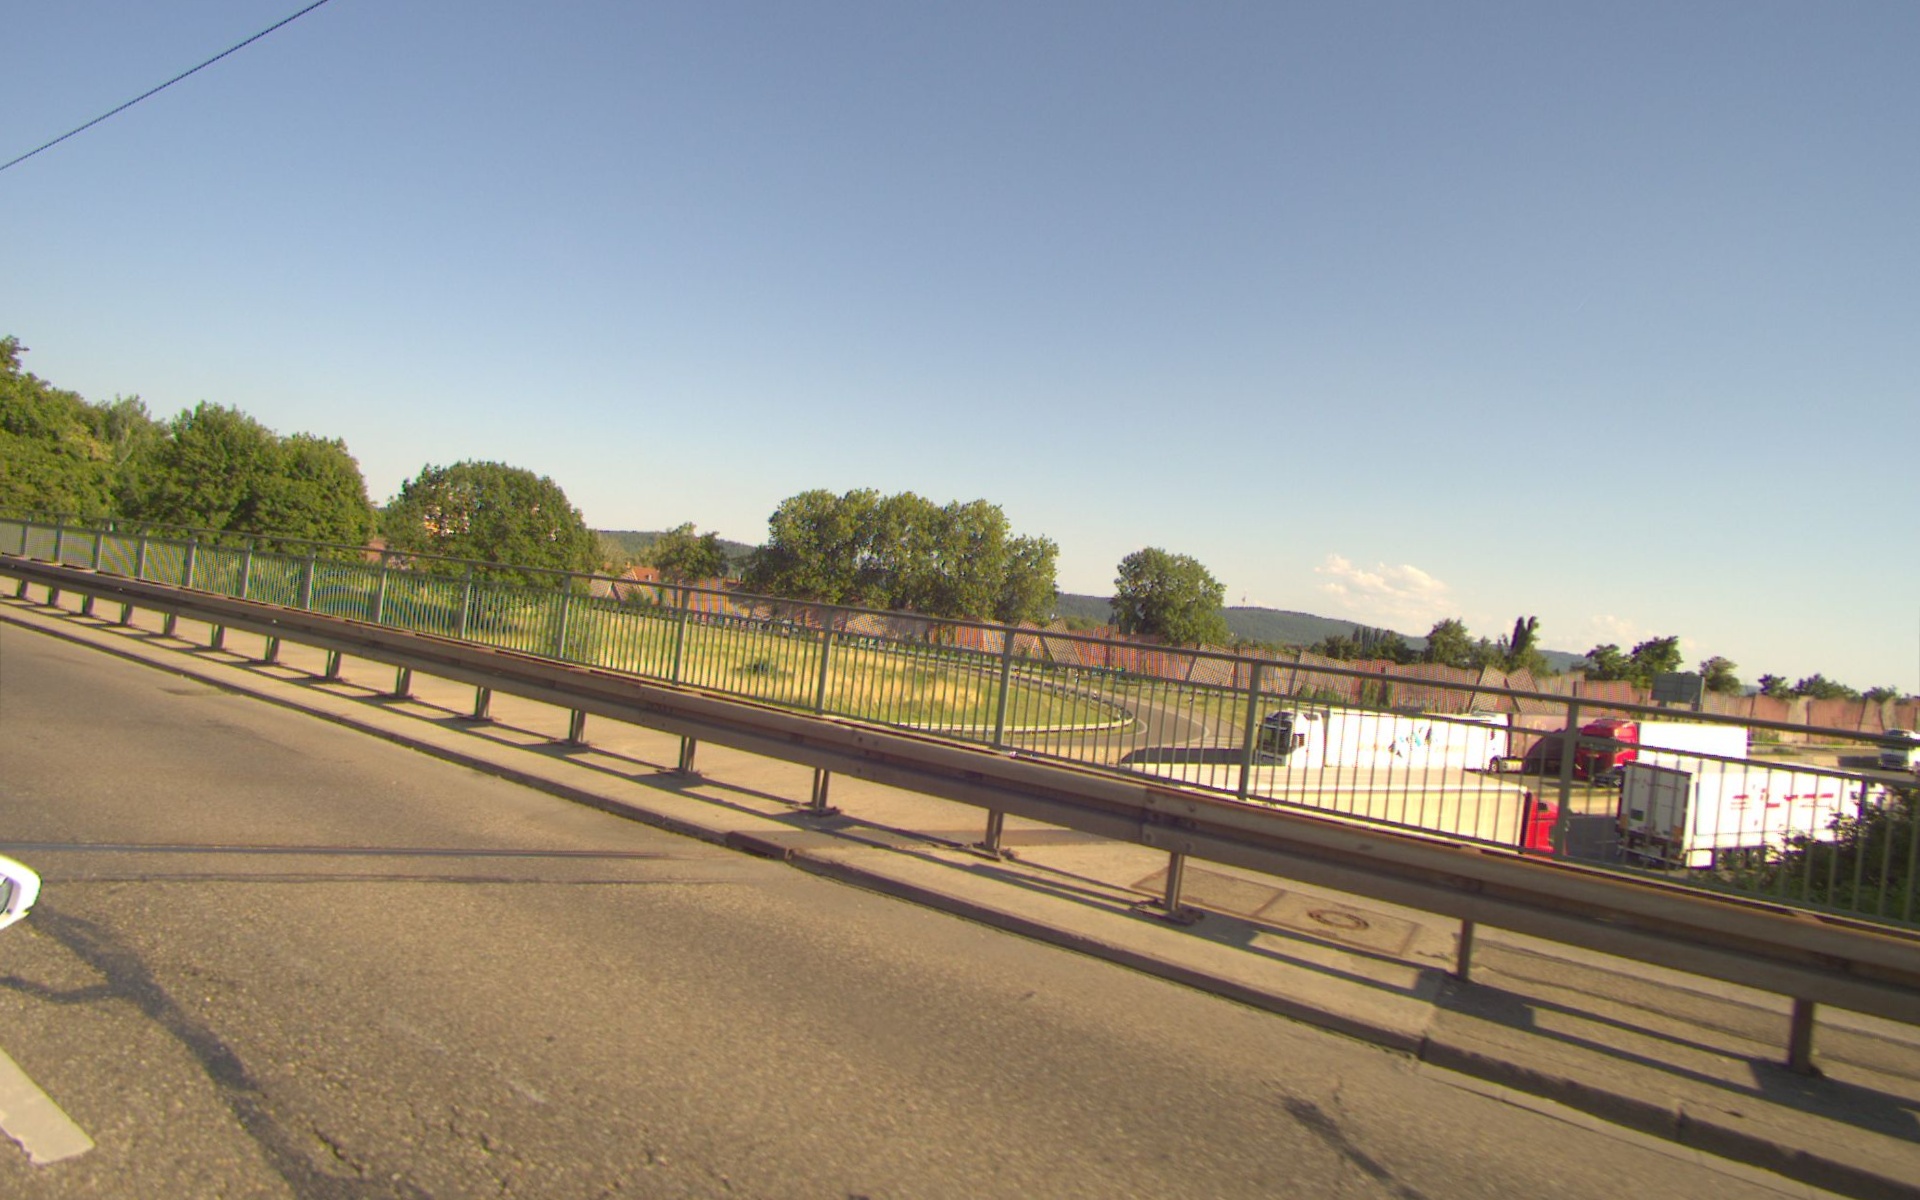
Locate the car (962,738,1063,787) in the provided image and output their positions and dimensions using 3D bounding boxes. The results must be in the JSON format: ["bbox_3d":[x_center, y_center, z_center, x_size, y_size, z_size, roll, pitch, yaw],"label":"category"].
[{"bbox_3d":[2.373,7.294,45.106,4.244,1.572,1.466,11,-4,-29],"label":"car"}]

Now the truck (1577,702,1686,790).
[{"bbox_3d":[45.135,9.796,67.539,7.249,5.325,2.579,6,-1,-27],"label":"truck"}]

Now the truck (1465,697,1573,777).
[{"bbox_3d":[38.141,9.344,68.586,7.251,4.800,2.579,7,-2,-27],"label":"truck"}]

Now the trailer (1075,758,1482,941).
[{"bbox_3d":[9.067,6.565,27.690,11.951,3.892,2.892,5,-1,-27],"label":"trailer"}]

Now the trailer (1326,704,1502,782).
[{"bbox_3d":[26.155,8.234,57.594,11.446,3.892,2.577,5,-1,-28],"label":"trailer"}]

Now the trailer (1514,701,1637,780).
[{"bbox_3d":[43.754,9.986,71.412,9.355,4.799,2.579,7,-2,-27],"label":"trailer"}]

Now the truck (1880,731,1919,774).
[{"bbox_3d":[90.378,14.458,95.048,7.249,3.622,2.579,6,-2,-27],"label":"truck"}]

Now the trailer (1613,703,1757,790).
[{"bbox_3d":[50.895,10.326,70.456,12.202,5.338,2.579,6,-2,-26],"label":"trailer"}]

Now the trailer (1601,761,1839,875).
[{"bbox_3d":[31.991,8.953,42.115,11.951,3.892,2.892,5,-1,-27],"label":"trailer"}]

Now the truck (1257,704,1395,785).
[{"bbox_3d":[19.735,7.766,54.141,7.251,3.892,2.577,5,-1,-28],"label":"truck"}]

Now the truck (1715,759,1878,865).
[{"bbox_3d":[37.379,9.367,44.912,7.250,3.987,2.861,6,-1,-27],"label":"truck"}]

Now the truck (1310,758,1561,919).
[{"bbox_3d":[14.479,7.063,30.513,7.250,3.987,2.861,6,-1,-27],"label":"truck"}]
